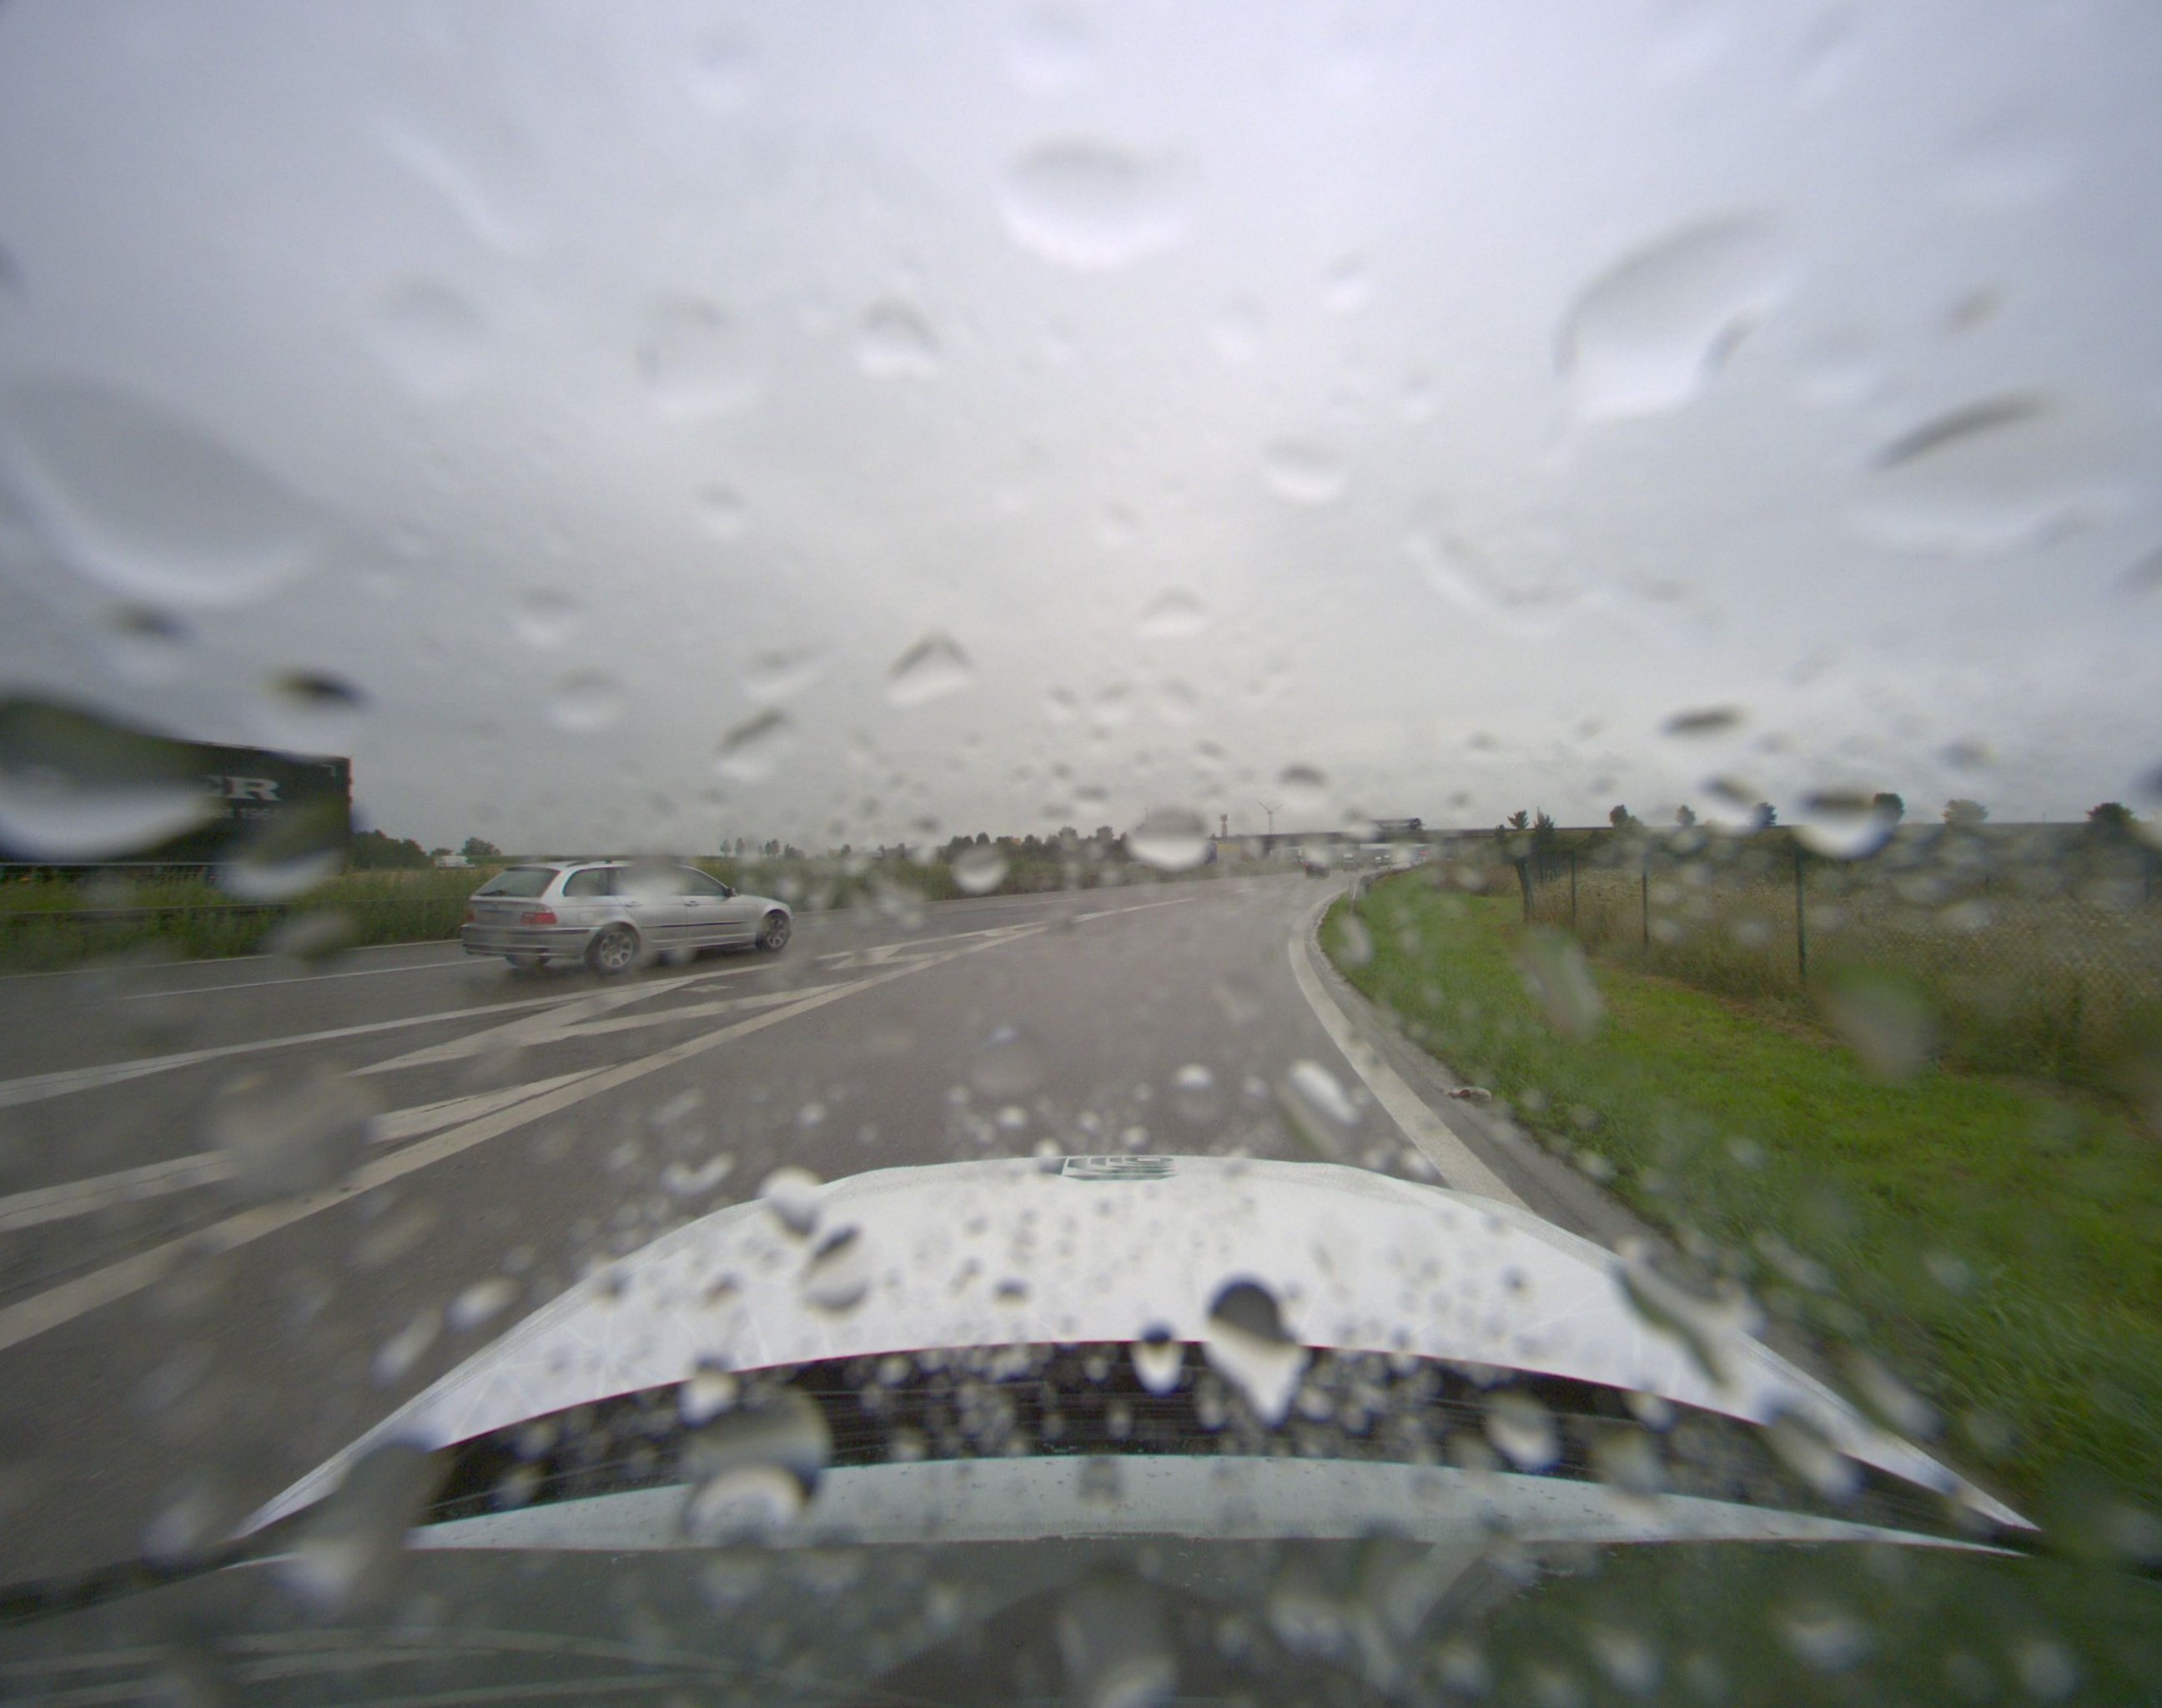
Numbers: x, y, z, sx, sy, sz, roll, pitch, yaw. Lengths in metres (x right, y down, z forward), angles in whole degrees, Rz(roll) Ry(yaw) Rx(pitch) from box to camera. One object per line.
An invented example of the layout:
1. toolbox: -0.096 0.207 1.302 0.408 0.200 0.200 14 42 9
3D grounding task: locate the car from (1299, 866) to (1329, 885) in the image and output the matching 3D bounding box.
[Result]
1. car: 21.562 1.999 75.314 2.126 1.636 4.620 1 -1 23

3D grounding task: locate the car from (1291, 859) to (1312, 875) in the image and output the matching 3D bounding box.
1. car: 27.795 1.606 102.422 1.976 1.749 4.022 -3 0 23

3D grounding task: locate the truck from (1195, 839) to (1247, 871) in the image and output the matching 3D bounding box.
1. truck: 19.127 0.199 110.064 3.166 3.966 15.401 2 0 23

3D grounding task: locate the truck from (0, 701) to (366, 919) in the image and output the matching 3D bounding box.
1. truck: -21.728 -0.869 14.119 3.166 3.966 13.889 2 0 23

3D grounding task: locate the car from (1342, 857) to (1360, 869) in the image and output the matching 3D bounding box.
1. car: 37.959 1.291 114.239 2.035 1.636 4.373 0 -1 23

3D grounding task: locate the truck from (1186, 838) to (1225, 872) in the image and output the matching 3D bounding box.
1. truck: 15.627 0.116 101.920 3.166 3.966 6.699 2 0 23

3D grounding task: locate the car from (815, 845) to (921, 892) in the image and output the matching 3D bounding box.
1. car: -9.155 0.588 35.459 2.086 1.875 4.556 1 0 23

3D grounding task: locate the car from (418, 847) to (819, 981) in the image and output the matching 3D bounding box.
1. car: -6.104 0.703 11.570 1.858 1.488 4.821 -1 -1 22
